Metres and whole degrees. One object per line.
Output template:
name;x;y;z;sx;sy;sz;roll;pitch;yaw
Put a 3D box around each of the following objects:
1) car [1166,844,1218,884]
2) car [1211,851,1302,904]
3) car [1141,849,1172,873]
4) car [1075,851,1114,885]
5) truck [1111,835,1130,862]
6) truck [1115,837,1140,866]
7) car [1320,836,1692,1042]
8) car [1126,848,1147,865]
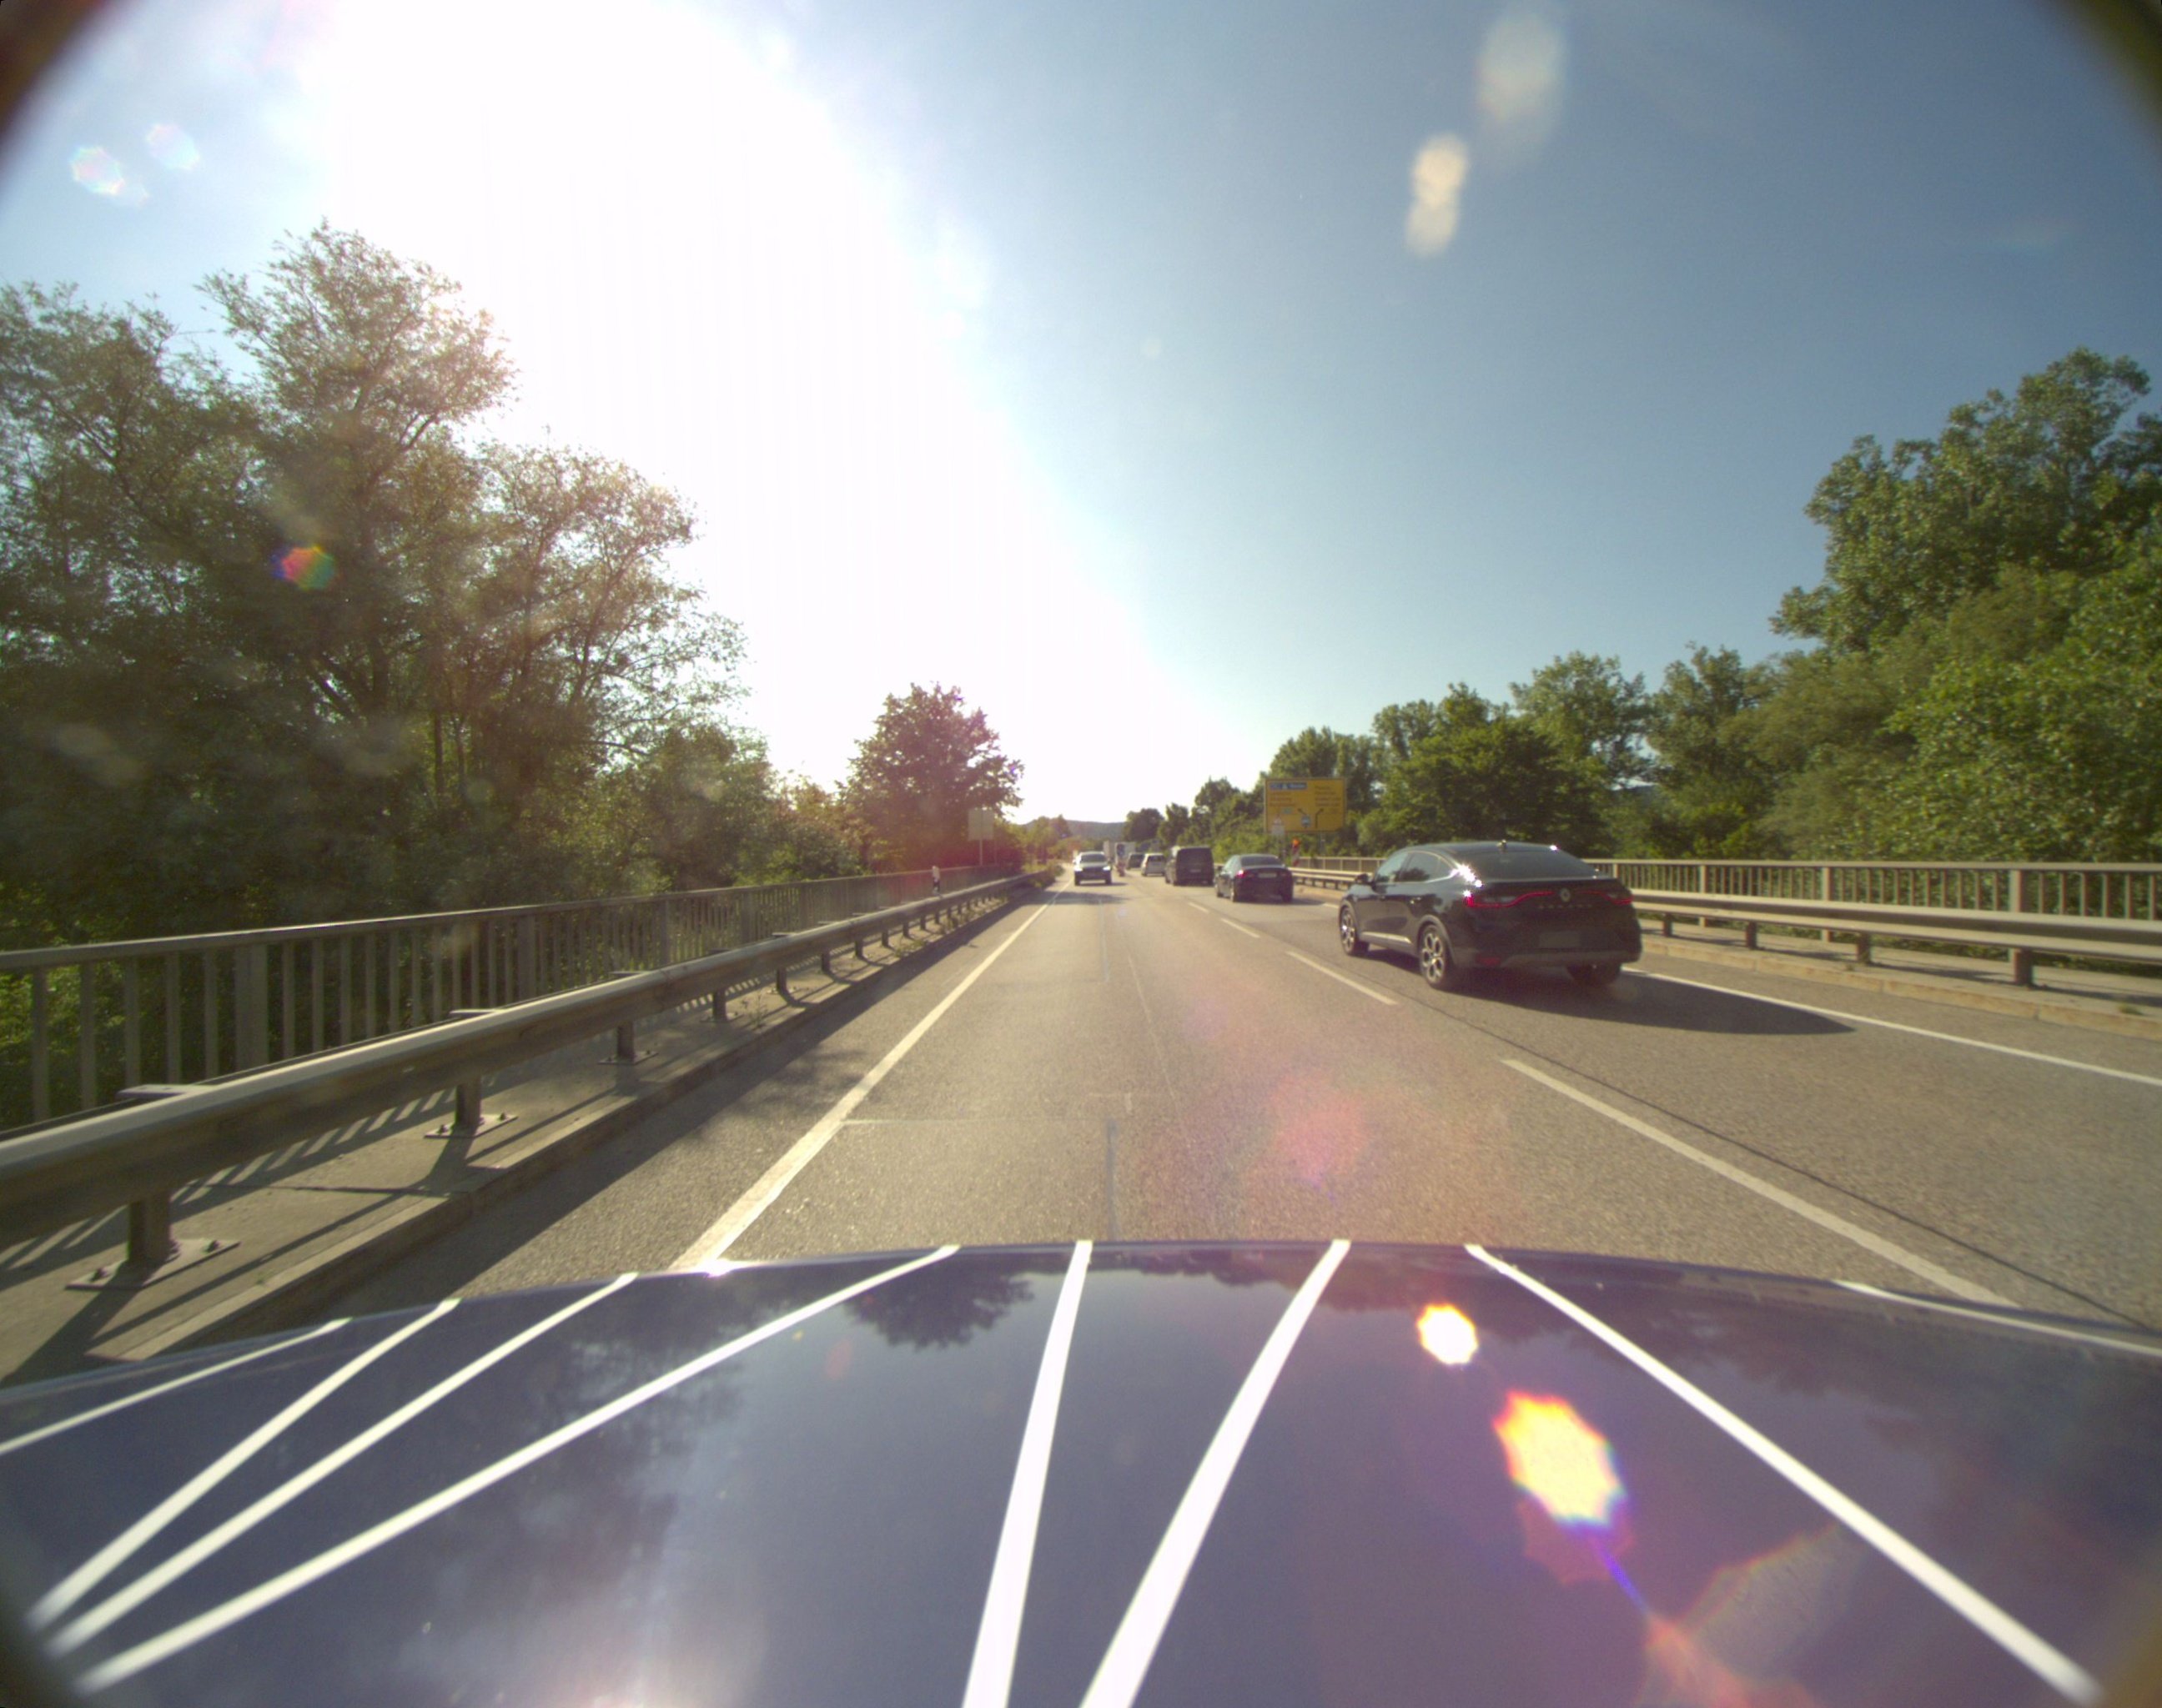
car;5.385;0.439;37.327;1.972;1.796;4.530;-2;0;2
car;5.372;0.673;23.832;1.893;1.479;4.273;-2;0;1
car;5.257;0.452;53.064;1.824;1.537;4.061;-2;0;2
car;0.690;0.686;39.894;1.871;1.599;4.379;-2;0;0
truck;6.626;-0.945;127.083;2.744;4.303;8.130;-2;0;1
truck;5.447;-0.304;90.036;2.620;3.235;6.967;-2;0;1
car;4.506;0.751;9.049;1.972;1.796;4.530;-2;0;2
car;5.403;0.227;74.385;1.743;1.655;4.046;-2;0;1
